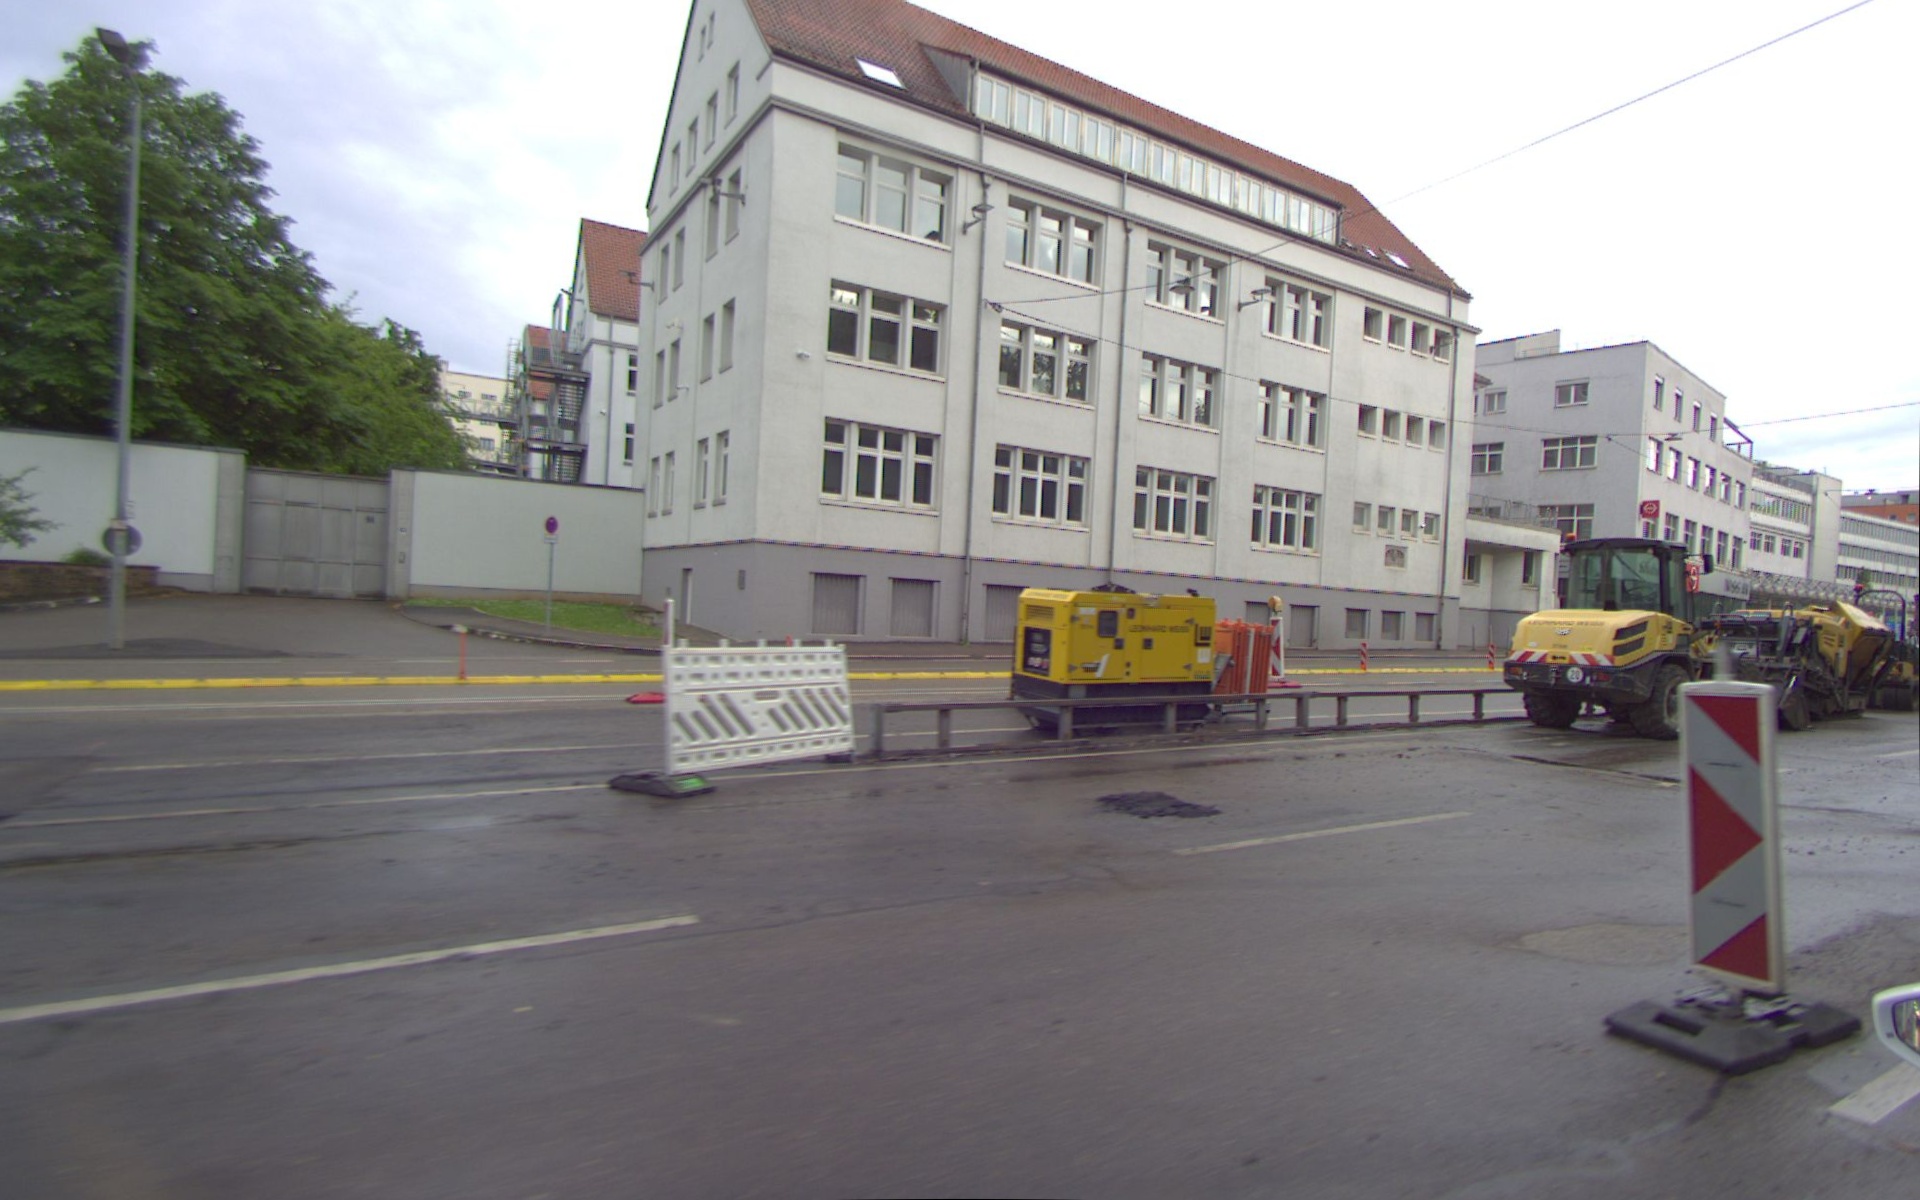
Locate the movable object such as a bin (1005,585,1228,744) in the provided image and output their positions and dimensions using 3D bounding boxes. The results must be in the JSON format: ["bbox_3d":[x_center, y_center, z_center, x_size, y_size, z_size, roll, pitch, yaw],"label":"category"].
[{"bbox_3d":[1.846,0.711,11.737,2.411,1.666,1.078,2,1,-31],"label":"movable object such as a bin"}]

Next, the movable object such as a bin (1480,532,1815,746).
[{"bbox_3d":[10.088,0.533,14.618,5.320,2.644,1.893,2,0,-30],"label":"movable object such as a bin"}]

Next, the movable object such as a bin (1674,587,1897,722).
[{"bbox_3d":[14.509,0.907,17.559,4.971,2.118,1.356,2,0,-31],"label":"movable object such as a bin"}]

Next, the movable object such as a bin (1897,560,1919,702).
[{"bbox_3d":[22.313,0.712,22.188,3.682,3.048,1.458,2,-1,-32],"label":"movable object such as a bin"}]

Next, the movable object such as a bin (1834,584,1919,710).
[{"bbox_3d":[19.190,0.939,20.541,2.380,2.433,1.402,2,-1,-33],"label":"movable object such as a bin"}]
